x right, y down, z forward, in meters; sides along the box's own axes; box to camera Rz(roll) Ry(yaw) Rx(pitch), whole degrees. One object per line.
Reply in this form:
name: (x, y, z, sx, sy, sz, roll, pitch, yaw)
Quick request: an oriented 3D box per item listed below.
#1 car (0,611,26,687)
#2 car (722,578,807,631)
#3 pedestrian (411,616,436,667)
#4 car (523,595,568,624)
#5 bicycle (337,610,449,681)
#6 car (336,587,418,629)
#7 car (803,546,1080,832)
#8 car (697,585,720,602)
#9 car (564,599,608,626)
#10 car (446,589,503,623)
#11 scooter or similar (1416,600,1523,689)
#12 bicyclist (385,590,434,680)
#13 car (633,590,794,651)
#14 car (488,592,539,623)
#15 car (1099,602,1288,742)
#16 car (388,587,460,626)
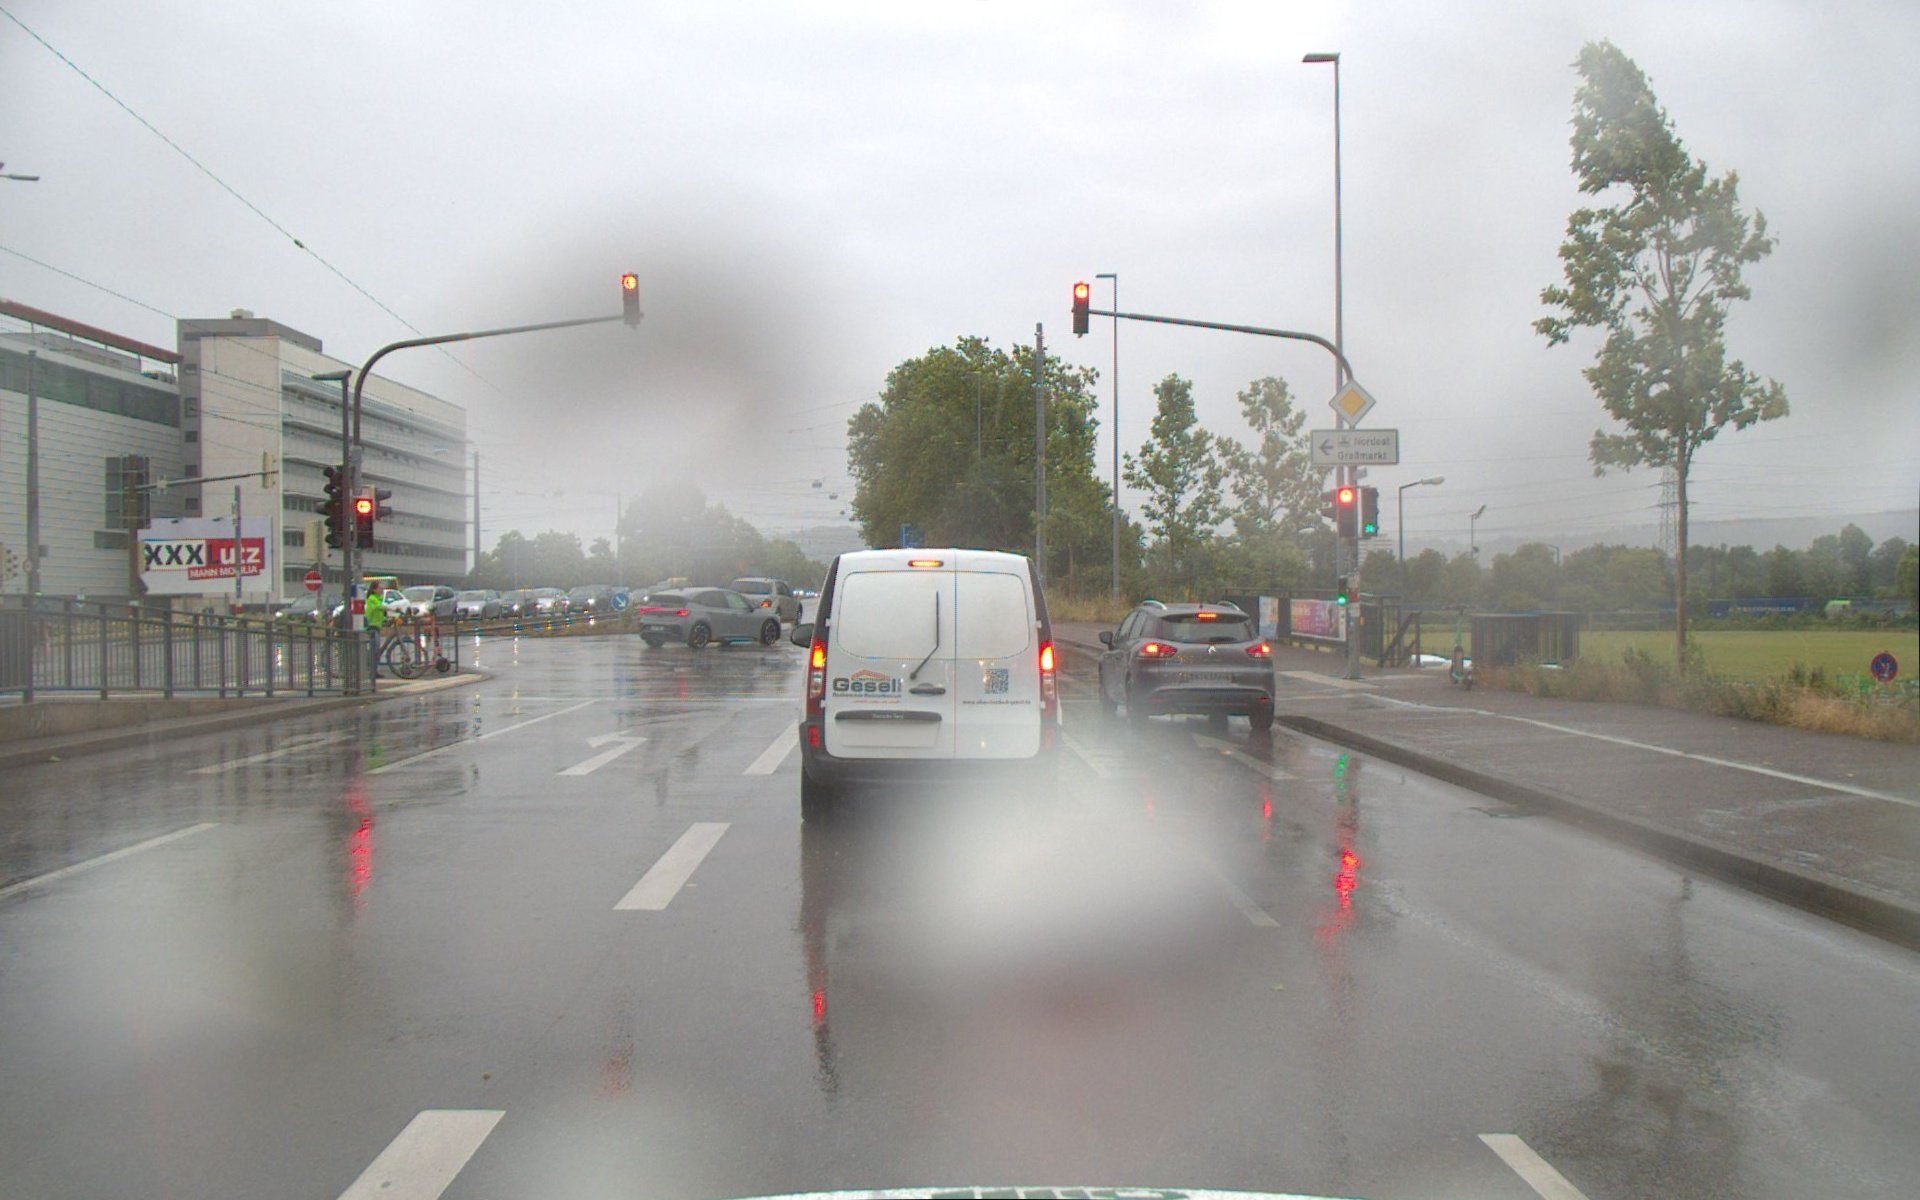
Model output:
car: (-21.744, 0.931, 33.788, 4.183, 1.528, 1.816, 2, -1, -11)
car: (-6.750, 0.174, 57.550, 1.906, 1.691, 4.467, 1, -1, 7)
pedestrian: (-9.774, 0.754, 30.141, 0.309, 0.913, 0.380, 2, 0, -3)
car: (-22.107, 0.525, 88.320, 1.528, 1.451, 3.567, 2, -1, -1)
bicycle: (-9.606, 0.767, 28.061, 1.745, 1.157, 0.512, 1, -1, -43)
car: (-21.670, 0.324, 61.619, 1.676, 1.451, 3.808, 2, -1, -1)
car: (-0.263, 0.533, 12.442, 1.719, 1.780, 4.165, 1, 1, -4)
car: (-23.176, -0.584, 152.486, 1.528, 1.451, 3.567, 2, -1, -1)
car: (-21.578, 0.752, 95.639, 1.676, 1.451, 3.808, 2, -1, -1)
car: (-21.905, 0.291, 74.756, 1.528, 1.451, 3.567, 2, -1, -1)
scooter or similar: (7.560, 0.626, 24.718, 0.676, 1.232, 3.020, -1, 0, 0)
bicyclist: (-9.404, 0.596, 28.247, 0.600, 1.517, 0.591, 2, -1, -41)
car: (-6.462, 0.558, 43.779, 1.685, 1.476, 4.178, 0, -2, 39)
car: (-22.066, 0.383, 81.834, 1.528, 1.451, 3.567, 2, -1, -1)
car: (2.774, 0.813, 20.419, 1.650, 1.534, 3.919, 1, 0, -2)
car: (-21.849, 0.283, 67.522, 1.676, 1.451, 3.808, 2, -1, -1)
